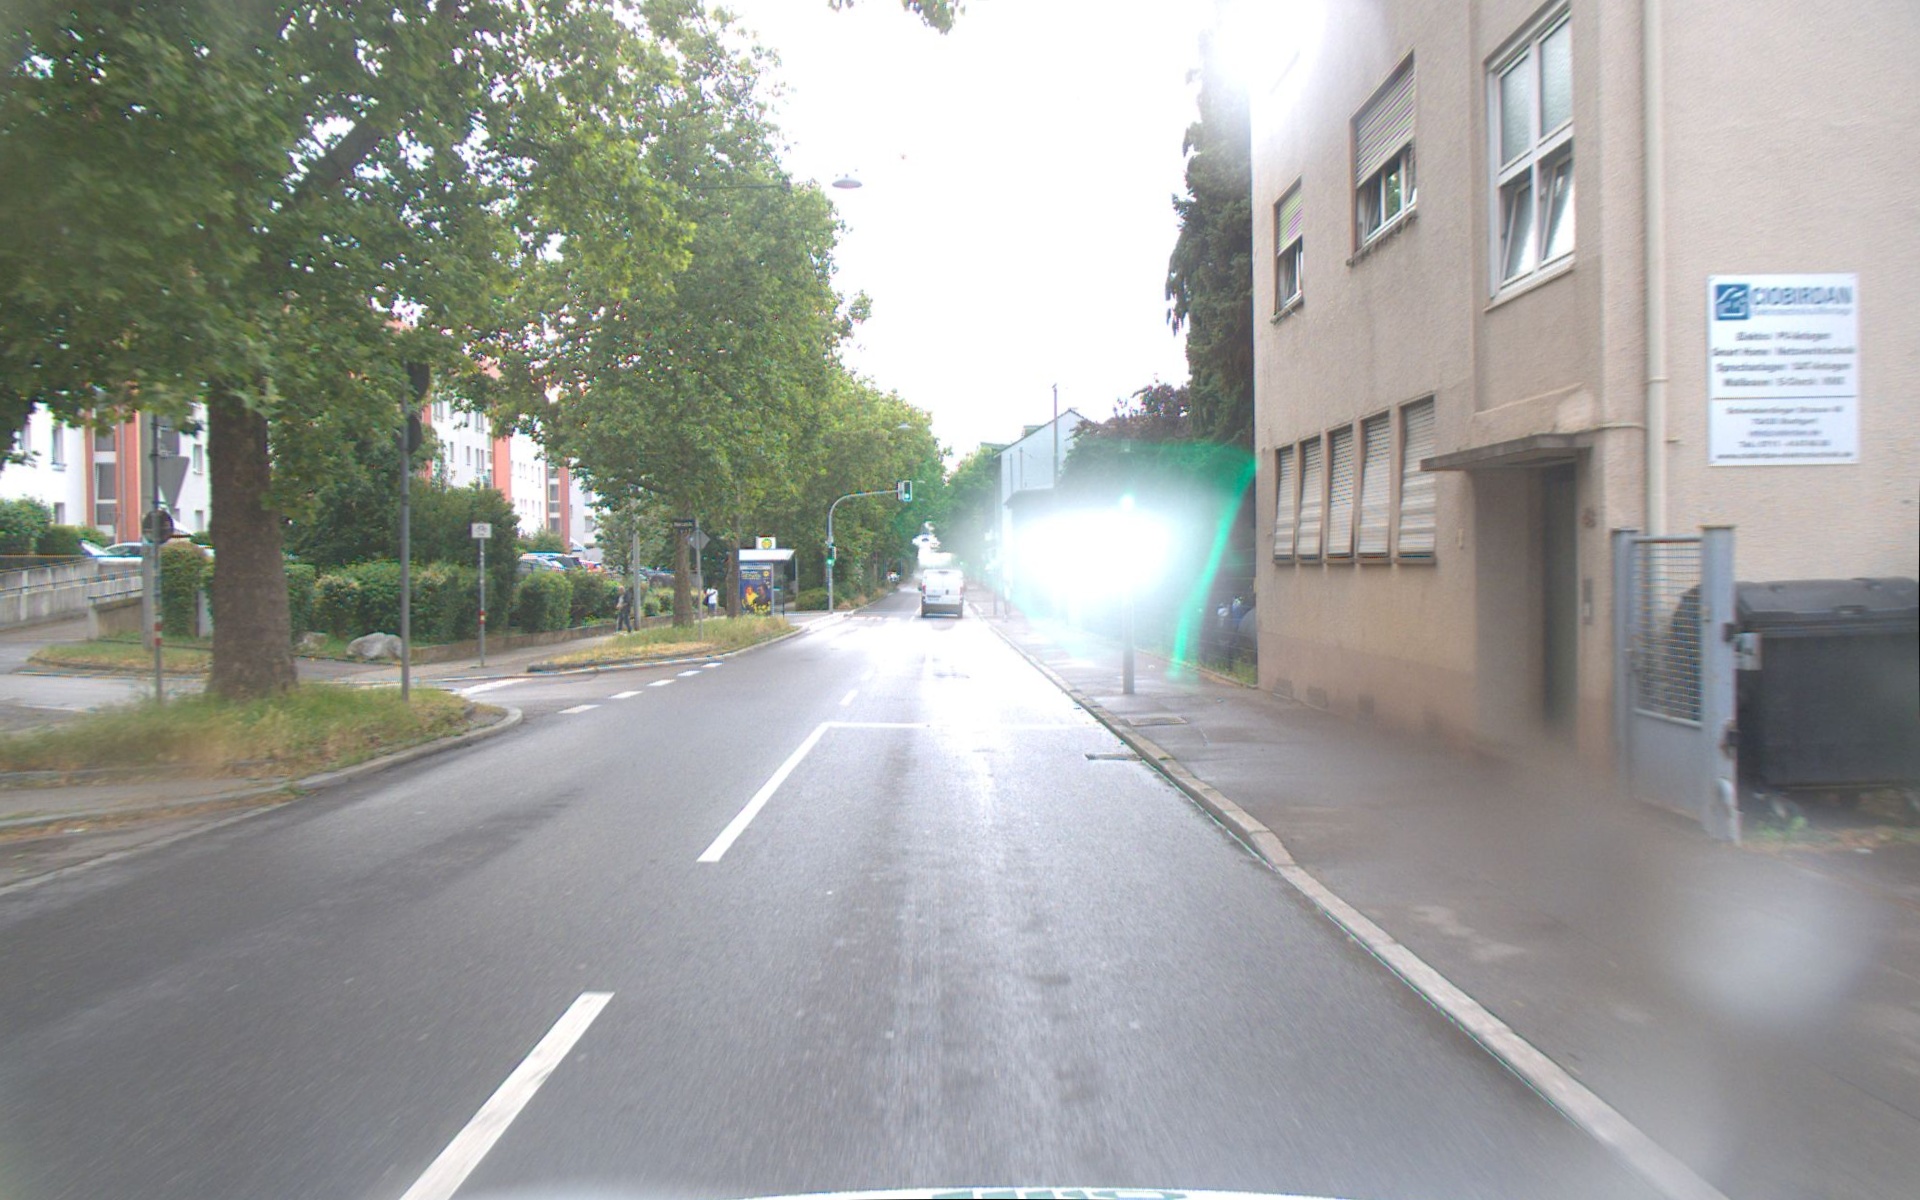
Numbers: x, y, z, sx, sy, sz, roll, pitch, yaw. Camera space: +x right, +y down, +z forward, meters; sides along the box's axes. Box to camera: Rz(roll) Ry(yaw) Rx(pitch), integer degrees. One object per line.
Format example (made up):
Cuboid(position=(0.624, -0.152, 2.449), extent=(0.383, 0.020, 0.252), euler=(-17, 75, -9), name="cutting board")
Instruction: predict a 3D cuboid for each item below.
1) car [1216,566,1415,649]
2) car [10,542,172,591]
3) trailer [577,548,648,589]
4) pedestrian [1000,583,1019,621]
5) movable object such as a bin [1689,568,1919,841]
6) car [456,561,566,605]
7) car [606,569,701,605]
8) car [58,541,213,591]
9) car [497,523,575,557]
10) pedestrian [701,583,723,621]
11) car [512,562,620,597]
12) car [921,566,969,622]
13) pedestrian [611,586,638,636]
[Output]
Cuboid(position=(10.544, 0.221, 49.328), extent=(5.455, 2.249, 1.999), euler=(2, 0, -3), name="car")
Cuboid(position=(-26.081, -0.986, 49.700), extent=(3.904, 1.341, 1.745), euler=(1, -1, 1), name="car")
Cuboid(position=(-14.789, -1.319, 70.470), extent=(2.649, 1.674, 1.480), euler=(1, 0, 0), name="trailer")
Cuboid(position=(2.298, 0.087, 76.940), extent=(0.728, 1.734, 0.900), euler=(1, -1, -6), name="pedestrian")
Cuboid(position=(5.240, 0.607, 10.080), extent=(1.088, 1.536, 0.986), euler=(-2, -1, -1), name="movable object such as a bin")
Cuboid(position=(-16.541, -0.614, 61.040), extent=(3.581, 1.524, 1.896), euler=(1, -1, -5), name="car")
Cuboid(position=(-15.555, -0.629, 84.092), extent=(4.453, 1.701, 1.999), euler=(1, -1, -2), name="car")
Cuboid(position=(-25.837, -1.056, 51.932), extent=(3.904, 1.439, 1.849), euler=(1, -1, 1), name="car")
Cuboid(position=(-22.726, -3.185, 88.574), extent=(3.765, 1.630, 1.703), euler=(2, -1, -28), name="car")
Cuboid(position=(-11.022, 0.098, 73.516), extent=(0.726, 1.626, 0.606), euler=(-4, -1, 3), name="pedestrian")
Cuboid(position=(-16.263, -0.836, 68.341), extent=(4.005, 1.325, 1.809), euler=(1, -1, -1), name="car")
Cuboid(position=(-0.722, -0.256, 80.098), extent=(2.236, 2.597, 3.999), euler=(0, -1, 0), name="car")
Cuboid(position=(-11.202, 0.373, 55.259), extent=(0.740, 1.639, 0.834), euler=(1, -1, -5), name="pedestrian")
